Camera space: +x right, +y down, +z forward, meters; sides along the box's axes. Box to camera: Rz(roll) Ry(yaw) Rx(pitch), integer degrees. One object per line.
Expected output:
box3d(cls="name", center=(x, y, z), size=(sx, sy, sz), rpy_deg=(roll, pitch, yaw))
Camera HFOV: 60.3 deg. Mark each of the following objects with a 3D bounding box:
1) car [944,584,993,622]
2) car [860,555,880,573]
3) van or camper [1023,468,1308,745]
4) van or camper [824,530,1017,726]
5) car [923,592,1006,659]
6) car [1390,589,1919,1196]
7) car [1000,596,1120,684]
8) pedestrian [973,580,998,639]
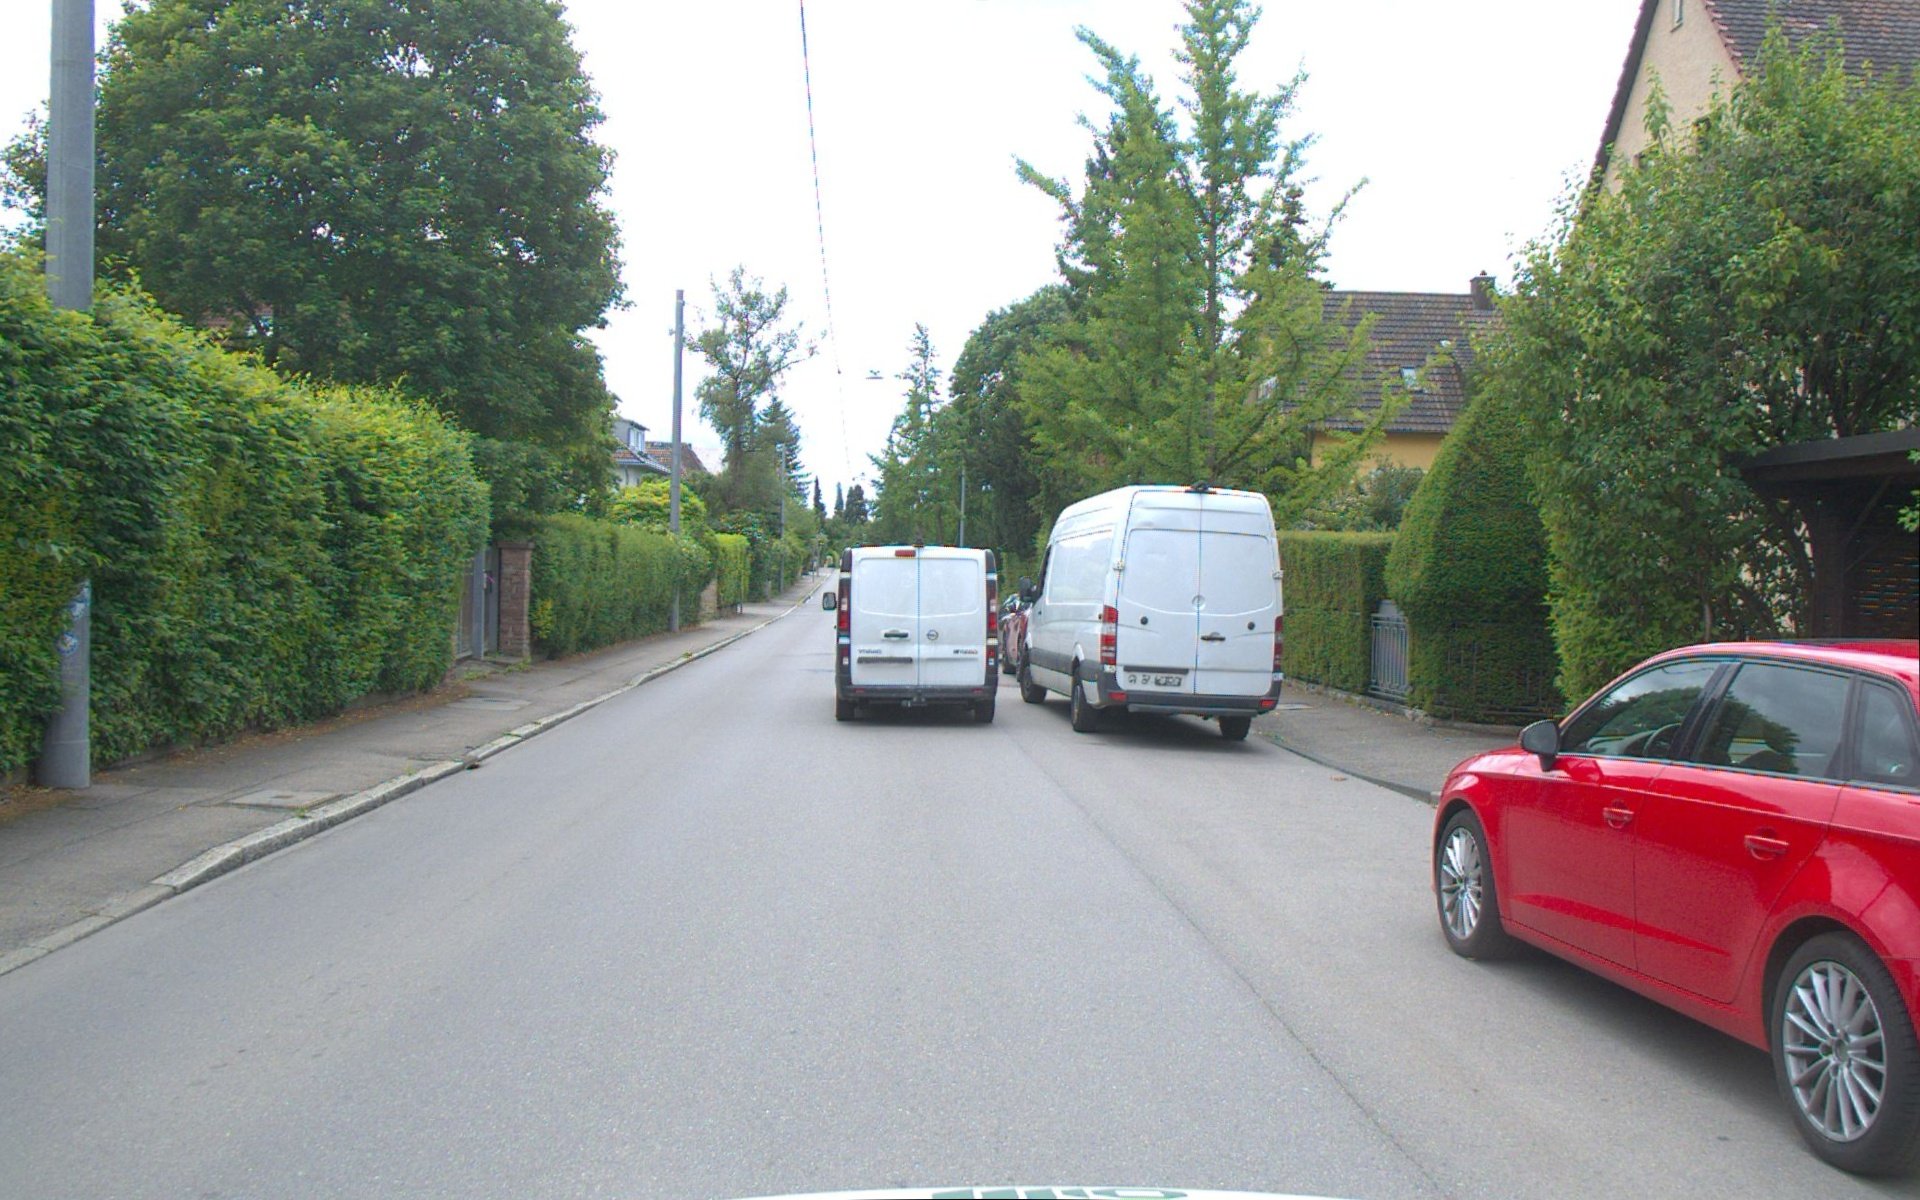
box3d(cls="car", center=(0.277, 0.093, 60.338), size=(1.500, 1.327, 3.225), rpy_deg=(1, 1, -5))
box3d(cls="car", center=(-8.614, -3.455, 158.111), size=(1.741, 1.679, 3.642), rpy_deg=(1, 3, -5))
box3d(cls="van or camper", center=(2.190, 0.035, 19.751), size=(2.026, 2.721, 6.322), rpy_deg=(2, 0, -5))
box3d(cls="van or camper", center=(-0.619, 0.208, 20.216), size=(1.887, 2.048, 4.824), rpy_deg=(1, 3, -7))
box3d(cls="car", center=(0.042, 0.534, 36.622), size=(1.500, 1.327, 4.027), rpy_deg=(1, 1, -5))
box3d(cls="car", center=(3.117, 0.749, 5.888), size=(1.679, 1.493, 4.263), rpy_deg=(1, 1, -6))
box3d(cls="car", center=(1.654, 0.634, 28.455), size=(1.500, 1.327, 4.027), rpy_deg=(1, 1, -5))
box3d(cls="pedestrian", center=(0.695, 0.250, 45.452), size=(0.546, 1.586, 0.551), rpy_deg=(0, 2, -17))
